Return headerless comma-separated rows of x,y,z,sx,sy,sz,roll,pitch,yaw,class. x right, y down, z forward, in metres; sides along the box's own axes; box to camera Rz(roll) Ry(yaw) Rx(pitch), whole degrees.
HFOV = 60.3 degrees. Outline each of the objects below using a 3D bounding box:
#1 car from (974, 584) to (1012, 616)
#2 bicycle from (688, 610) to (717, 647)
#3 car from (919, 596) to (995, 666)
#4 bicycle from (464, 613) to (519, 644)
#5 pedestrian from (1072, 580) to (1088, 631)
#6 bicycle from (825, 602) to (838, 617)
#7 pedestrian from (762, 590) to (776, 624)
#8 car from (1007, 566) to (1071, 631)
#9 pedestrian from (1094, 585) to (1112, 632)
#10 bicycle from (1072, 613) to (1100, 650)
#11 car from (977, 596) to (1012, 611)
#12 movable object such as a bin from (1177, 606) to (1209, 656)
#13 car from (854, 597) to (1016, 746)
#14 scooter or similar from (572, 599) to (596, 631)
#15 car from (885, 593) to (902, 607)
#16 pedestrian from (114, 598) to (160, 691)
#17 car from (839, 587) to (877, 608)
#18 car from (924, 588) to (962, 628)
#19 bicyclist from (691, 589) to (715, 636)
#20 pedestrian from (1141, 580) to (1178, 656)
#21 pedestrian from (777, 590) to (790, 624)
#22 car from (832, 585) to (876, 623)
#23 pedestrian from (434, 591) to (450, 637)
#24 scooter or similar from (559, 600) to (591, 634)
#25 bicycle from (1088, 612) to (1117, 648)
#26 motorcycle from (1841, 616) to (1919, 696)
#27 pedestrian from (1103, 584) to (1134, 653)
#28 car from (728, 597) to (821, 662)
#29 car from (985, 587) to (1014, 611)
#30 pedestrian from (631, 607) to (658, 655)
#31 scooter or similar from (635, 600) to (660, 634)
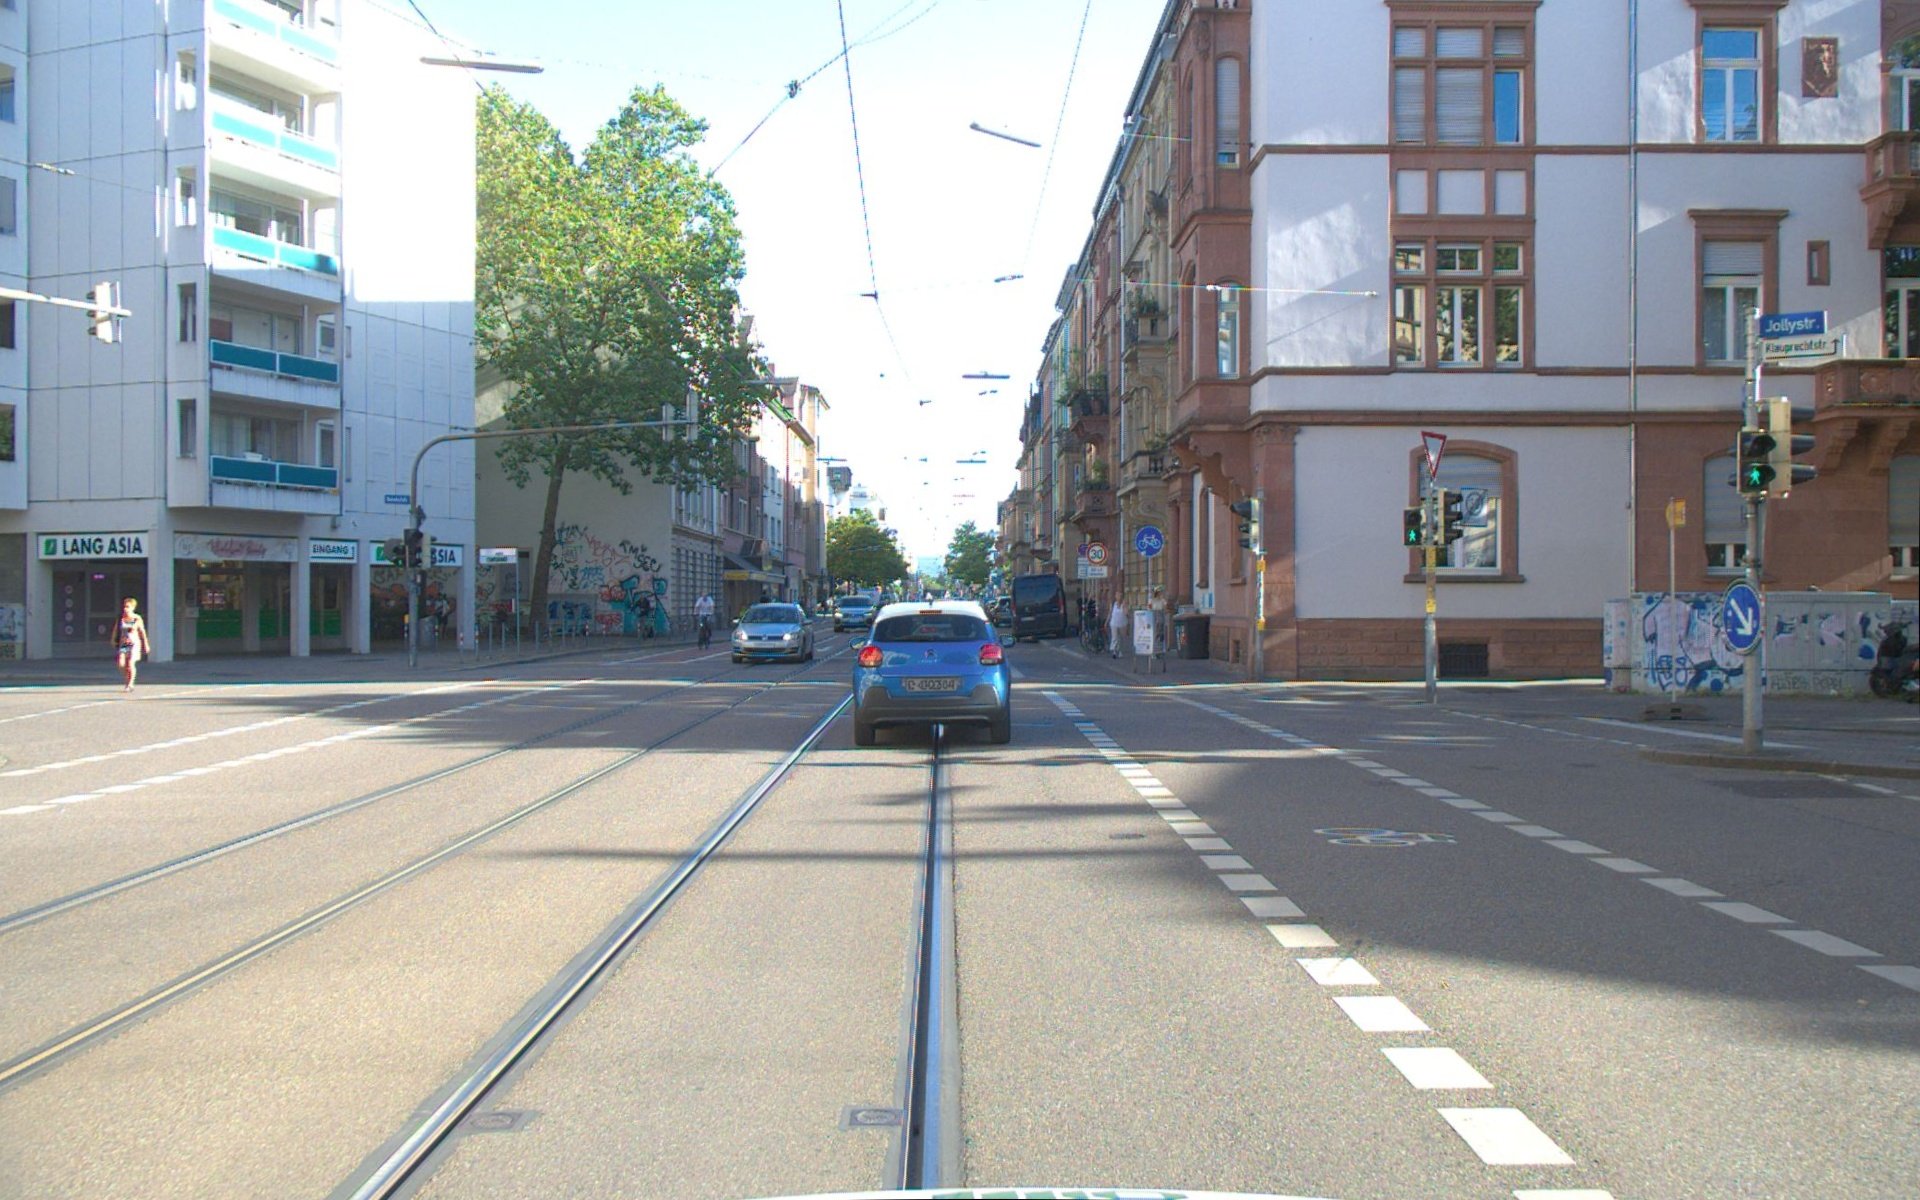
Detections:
1.849,-0.009,93.343,1.965,1.702,4.805,0,0,-1,car
-8.421,0.922,54.149,0.678,1.140,2.083,0,0,-2,bicycle
-0.114,0.676,38.138,1.633,1.504,3.998,0,0,-2,car
-16.369,0.996,57.743,1.878,1.052,0.665,-1,0,26,bicycle
4.860,0.216,67.035,0.573,2.049,0.823,0,0,-2,pedestrian
-12.233,0.878,157.319,1.099,1.342,3.639,0,0,-6,bicycle
-10.348,0.379,89.409,0.696,1.795,0.570,0,0,-2,pedestrian
3.091,-0.044,65.965,2.225,2.479,5.719,0,0,-1,car
5.630,0.345,65.253,0.542,1.813,0.606,3,0,-2,pedestrian
3.462,0.858,45.549,0.423,0.964,1.760,0,0,-8,bicycle
3.761,0.371,182.856,3.759,1.646,1.790,0,0,-3,car
5.645,0.751,40.044,0.652,1.174,0.594,-1,0,-2,movable object such as a bin
-0.329,0.726,18.868,1.640,1.503,3.998,0,0,-2,car
-14.802,0.595,65.065,0.921,1.243,0.765,0,0,-13,scooter or similar
-7.887,0.013,195.448,1.953,1.680,3.999,0,0,-2,car
-14.010,0.751,28.165,0.531,1.579,0.516,0,0,-2,pedestrian
-12.721,-0.360,206.136,4.256,2.626,2.191,0,0,-27,car
-0.937,0.424,88.468,1.953,2.049,3.999,0,0,-2,car
-8.417,0.402,54.158,0.668,1.509,0.778,0,0,-2,bicyclist
4.915,0.438,40.839,0.691,1.813,0.672,-4,0,-2,pedestrian
-9.579,0.377,89.723,0.697,1.795,0.653,0,0,-9,pedestrian
-5.059,0.187,79.492,1.953,1.774,4.561,0,0,-2,car
-19.962,0.537,63.701,0.446,1.748,0.547,0,0,-2,pedestrian
-14.937,0.649,64.176,1.207,1.280,0.765,0,0,-13,scooter or similar
3.927,0.824,45.619,0.423,0.964,1.760,0,0,-8,bicycle
14.313,0.834,25.064,0.598,1.144,2.389,0,0,-2,motorcycle
4.023,0.459,41.969,0.615,1.731,0.681,0,0,-10,pedestrian
-4.557,0.683,41.259,1.945,1.528,4.307,0,0,-2,car
2.787,-0.062,117.314,1.964,1.702,4.391,0,0,0,car
-11.985,1.180,62.822,0.668,1.796,1.026,0,0,10,pedestrian
-12.359,0.670,65.486,0.772,1.294,1.074,2,1,-2,scooter or similar
